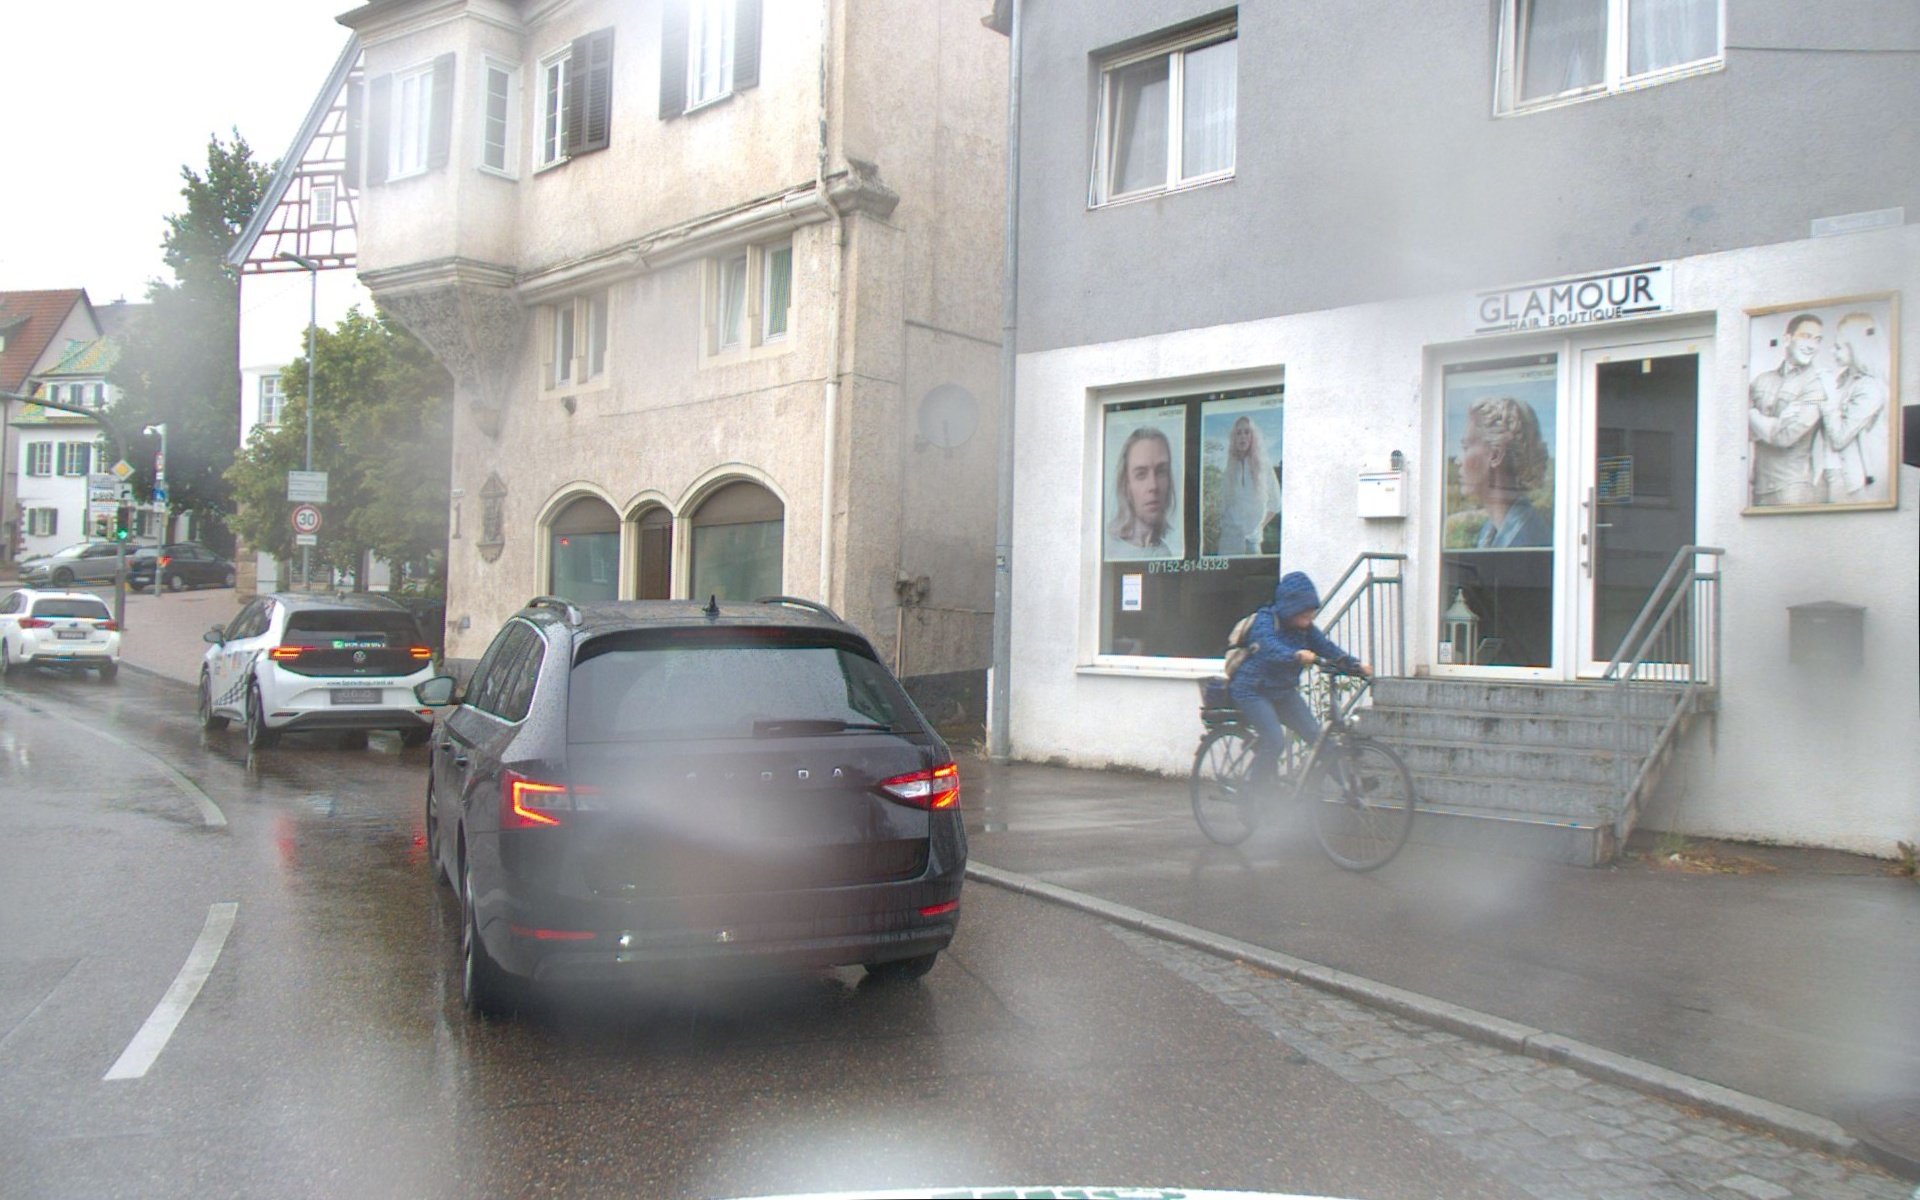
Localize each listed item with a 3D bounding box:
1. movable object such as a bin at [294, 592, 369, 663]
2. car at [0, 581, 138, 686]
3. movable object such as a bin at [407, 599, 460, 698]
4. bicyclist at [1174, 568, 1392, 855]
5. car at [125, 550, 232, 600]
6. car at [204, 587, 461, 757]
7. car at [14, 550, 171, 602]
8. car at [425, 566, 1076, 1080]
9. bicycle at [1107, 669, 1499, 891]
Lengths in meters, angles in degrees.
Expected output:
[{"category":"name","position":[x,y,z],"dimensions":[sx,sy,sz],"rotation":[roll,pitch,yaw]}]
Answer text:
[{"category":"movable object such as a bin","position":[-12.246,0.529,32.205],"dimensions":[1.143,1.336,1.173],"rotation":[2,0,-32]},{"category":"car","position":[-16.061,0.546,29.239],"dimensions":[1.872,1.623,4.267],"rotation":[2,1,-38]},{"category":"movable object such as a bin","position":[-8.194,0.743,25.726],"dimensions":[0.630,1.466,0.412],"rotation":[4,3,29]},{"category":"bicyclist","position":[1.864,0.602,9.569],"dimensions":[1.011,1.544,0.682],"rotation":[2,0,40]},{"category":"car","position":[-25.857,-0.814,54.851],"dimensions":[1.549,1.550,3.435],"rotation":[2,0,8]},{"category":"car","position":[-6.781,0.688,17.629],"dimensions":[1.838,1.498,3.958],"rotation":[2,1,-31]},{"category":"car","position":[-30.420,-0.817,58.079],"dimensions":[1.961,1.619,4.460],"rotation":[1,-1,36]},{"category":"car","position":[-1.242,0.636,7.159],"dimensions":[1.859,1.473,4.332],"rotation":[2,1,-20]},{"category":"bicycle","position":[1.912,0.965,9.399],"dimensions":[2.041,1.053,0.760],"rotation":[1,-2,39]}]
